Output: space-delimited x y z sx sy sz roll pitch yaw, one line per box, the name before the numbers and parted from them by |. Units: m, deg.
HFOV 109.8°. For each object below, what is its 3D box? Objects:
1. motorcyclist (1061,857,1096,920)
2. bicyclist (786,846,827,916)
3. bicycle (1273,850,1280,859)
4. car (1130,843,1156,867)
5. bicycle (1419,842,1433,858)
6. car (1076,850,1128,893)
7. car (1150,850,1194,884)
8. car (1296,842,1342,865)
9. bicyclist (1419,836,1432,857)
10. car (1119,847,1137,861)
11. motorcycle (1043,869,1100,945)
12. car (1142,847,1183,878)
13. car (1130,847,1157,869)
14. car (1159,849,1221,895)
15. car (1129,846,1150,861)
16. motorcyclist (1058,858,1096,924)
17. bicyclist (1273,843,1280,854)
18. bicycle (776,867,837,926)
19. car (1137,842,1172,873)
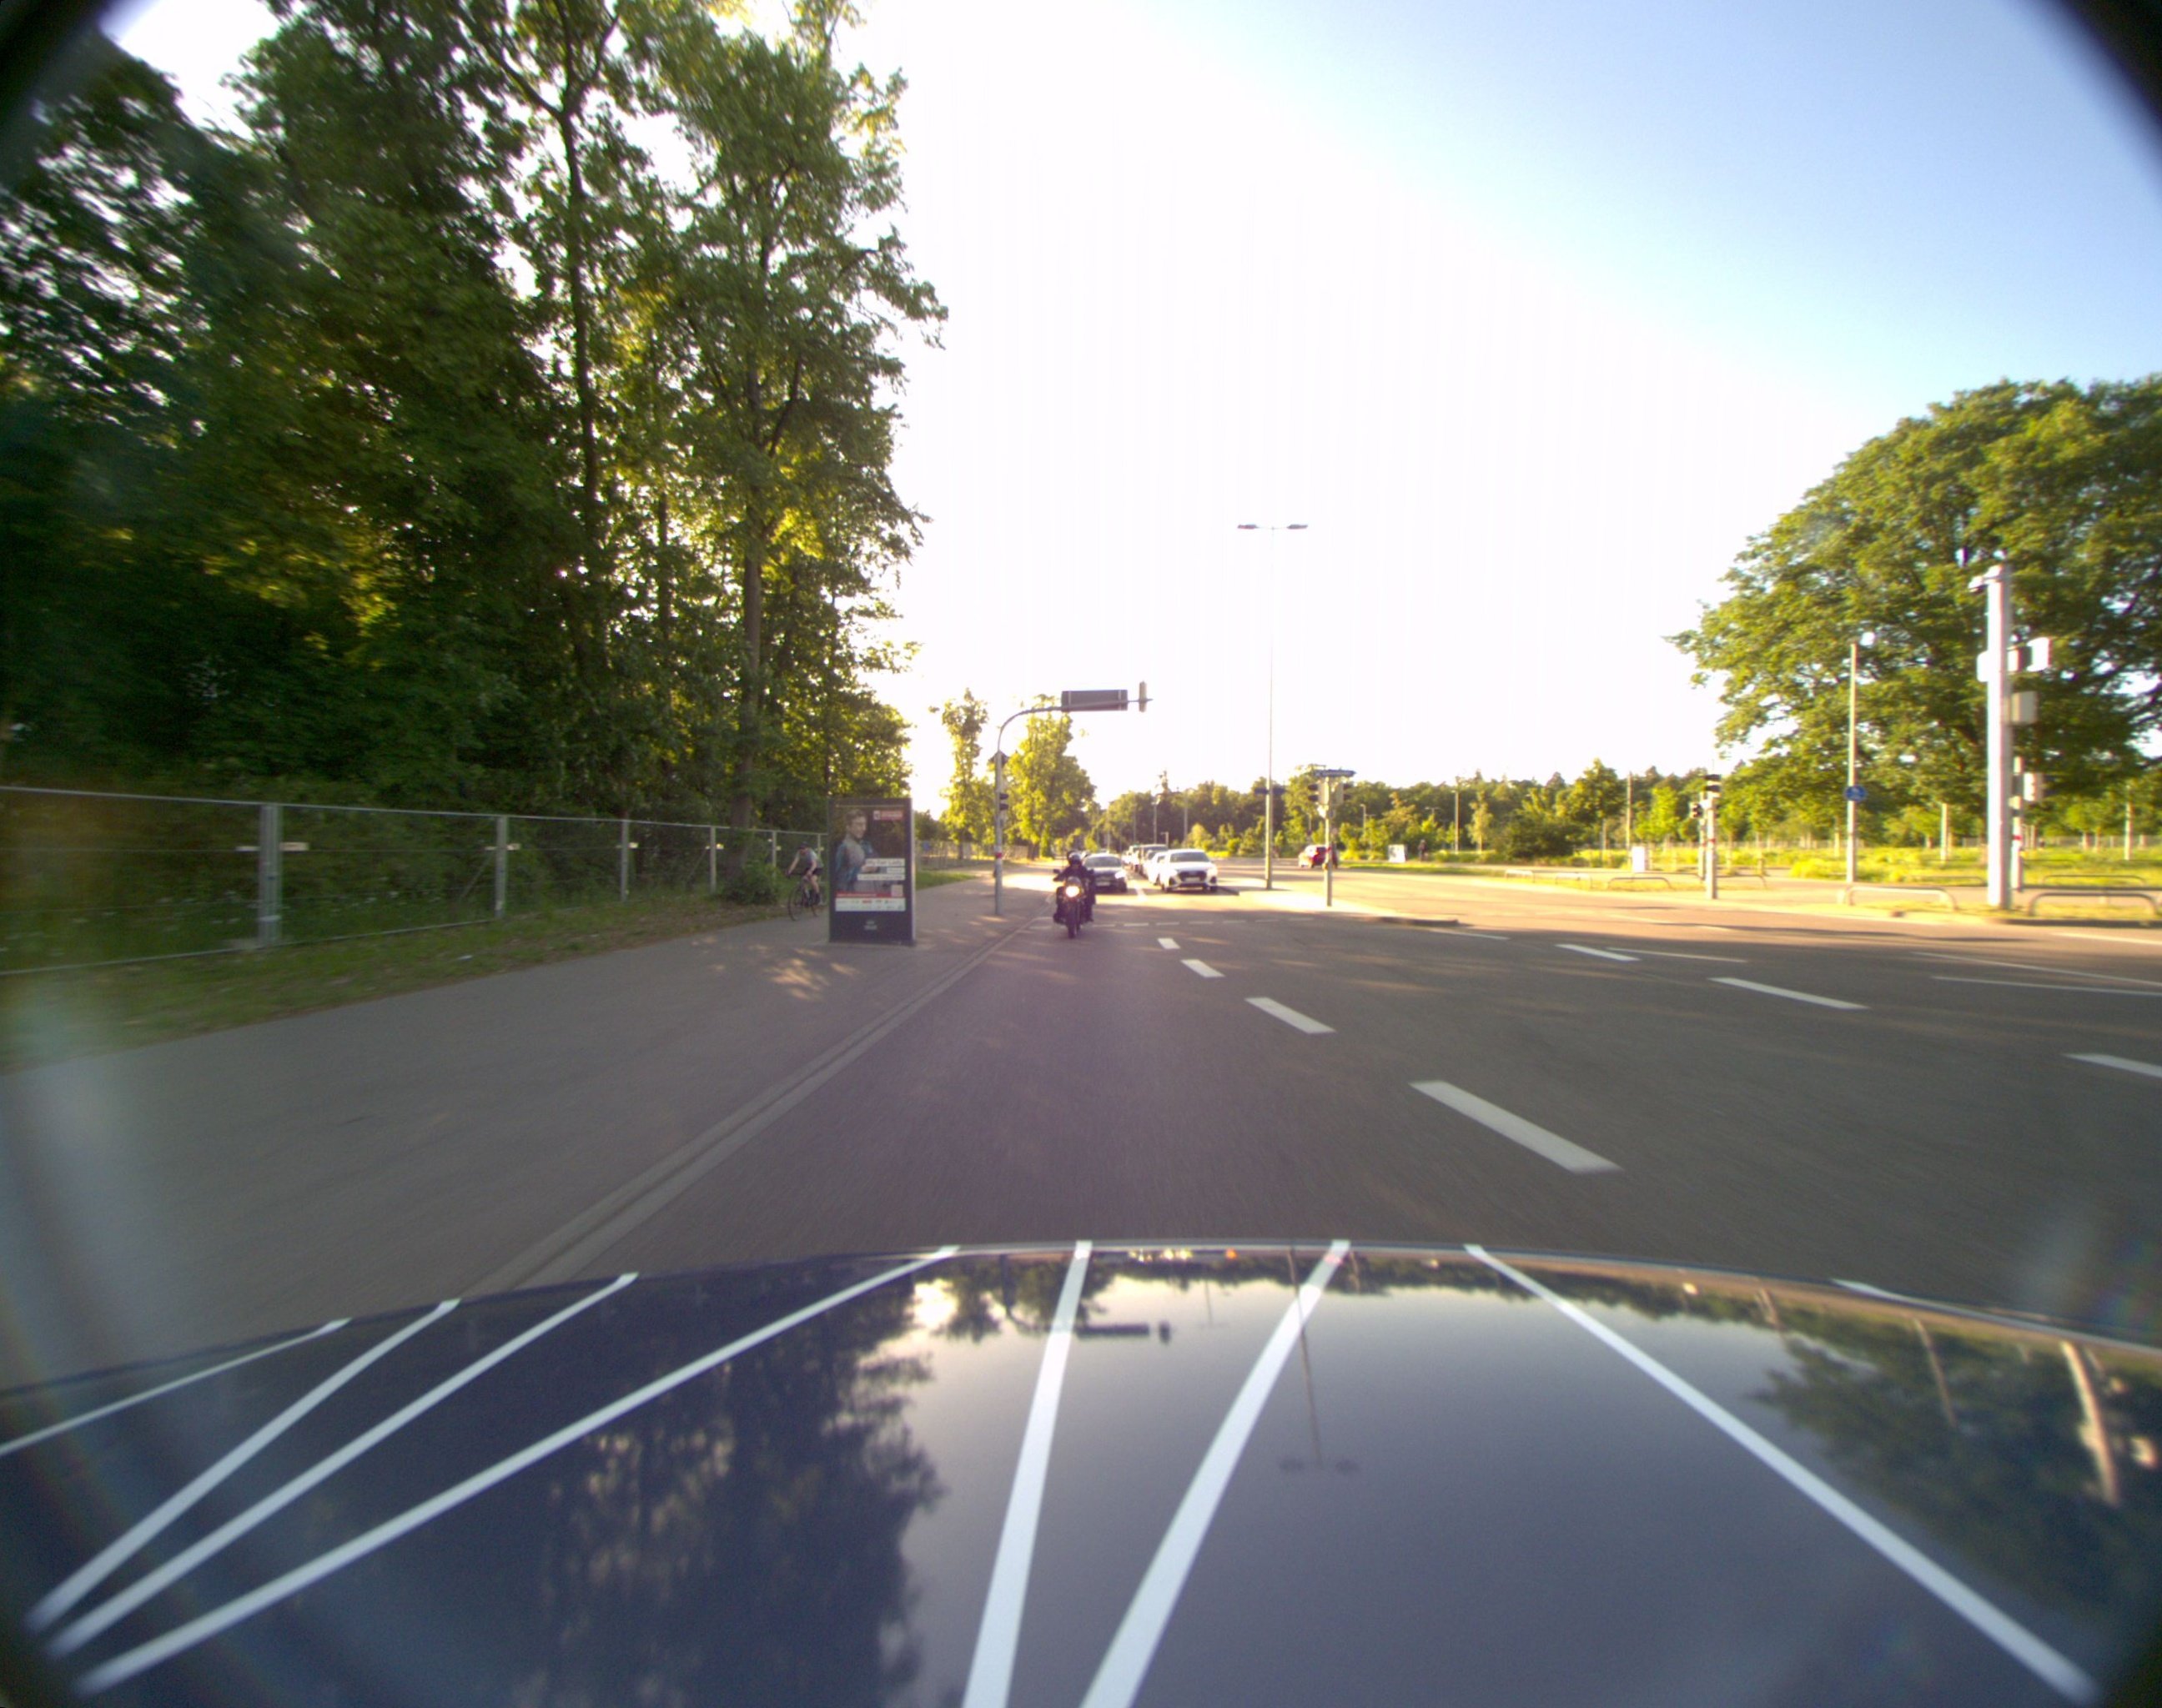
motorcyclist | -0.043 0.710 15.972 0.671 1.257 0.826 -2 1 2
bicyclist | -5.871 0.563 16.292 0.521 1.460 0.861 1 1 2
bicycle | 24.832 0.044 96.385 0.584 1.013 1.362 -2 1 3
car | 5.247 0.062 64.681 1.867 1.882 5.068 -2 0 1
bicycle | 26.663 -0.299 58.765 0.494 1.230 1.796 -2 1 9
car | 0.848 0.652 30.506 1.867 1.538 4.796 -2 0 1
car | 4.084 0.548 34.675 1.661 1.418 4.318 -2 0 3
car | 16.996 -0.065 54.514 1.891 1.544 4.572 -2 1 0
bicyclist | 26.666 -0.561 58.767 0.681 1.602 0.800 -2 1 10
car | 5.396 -0.060 87.258 1.896 1.479 4.640 -2 1 1
motorcycle | -0.139 0.976 15.052 0.916 1.243 2.962 -2 0 3
car | 4.385 0.431 41.390 1.797 1.574 4.321 -2 0 1
car | 4.589 0.274 55.941 1.736 1.560 4.103 -2 0 1
car | 3.954 0.606 28.181 1.838 1.504 4.301 -2 0 3
car | 5.985 -0.093 78.382 1.896 1.389 4.640 -2 1 1
motorcyclist | -0.069 0.717 15.097 0.671 1.257 0.826 -2 1 2
bicyclist | 24.774 -0.715 96.267 0.593 1.405 0.800 -2 1 4
bicycle | -5.883 0.871 16.379 0.555 1.131 1.864 2 1 3
car | 4.747 0.179 49.809 1.884 1.862 5.235 -2 0 1
